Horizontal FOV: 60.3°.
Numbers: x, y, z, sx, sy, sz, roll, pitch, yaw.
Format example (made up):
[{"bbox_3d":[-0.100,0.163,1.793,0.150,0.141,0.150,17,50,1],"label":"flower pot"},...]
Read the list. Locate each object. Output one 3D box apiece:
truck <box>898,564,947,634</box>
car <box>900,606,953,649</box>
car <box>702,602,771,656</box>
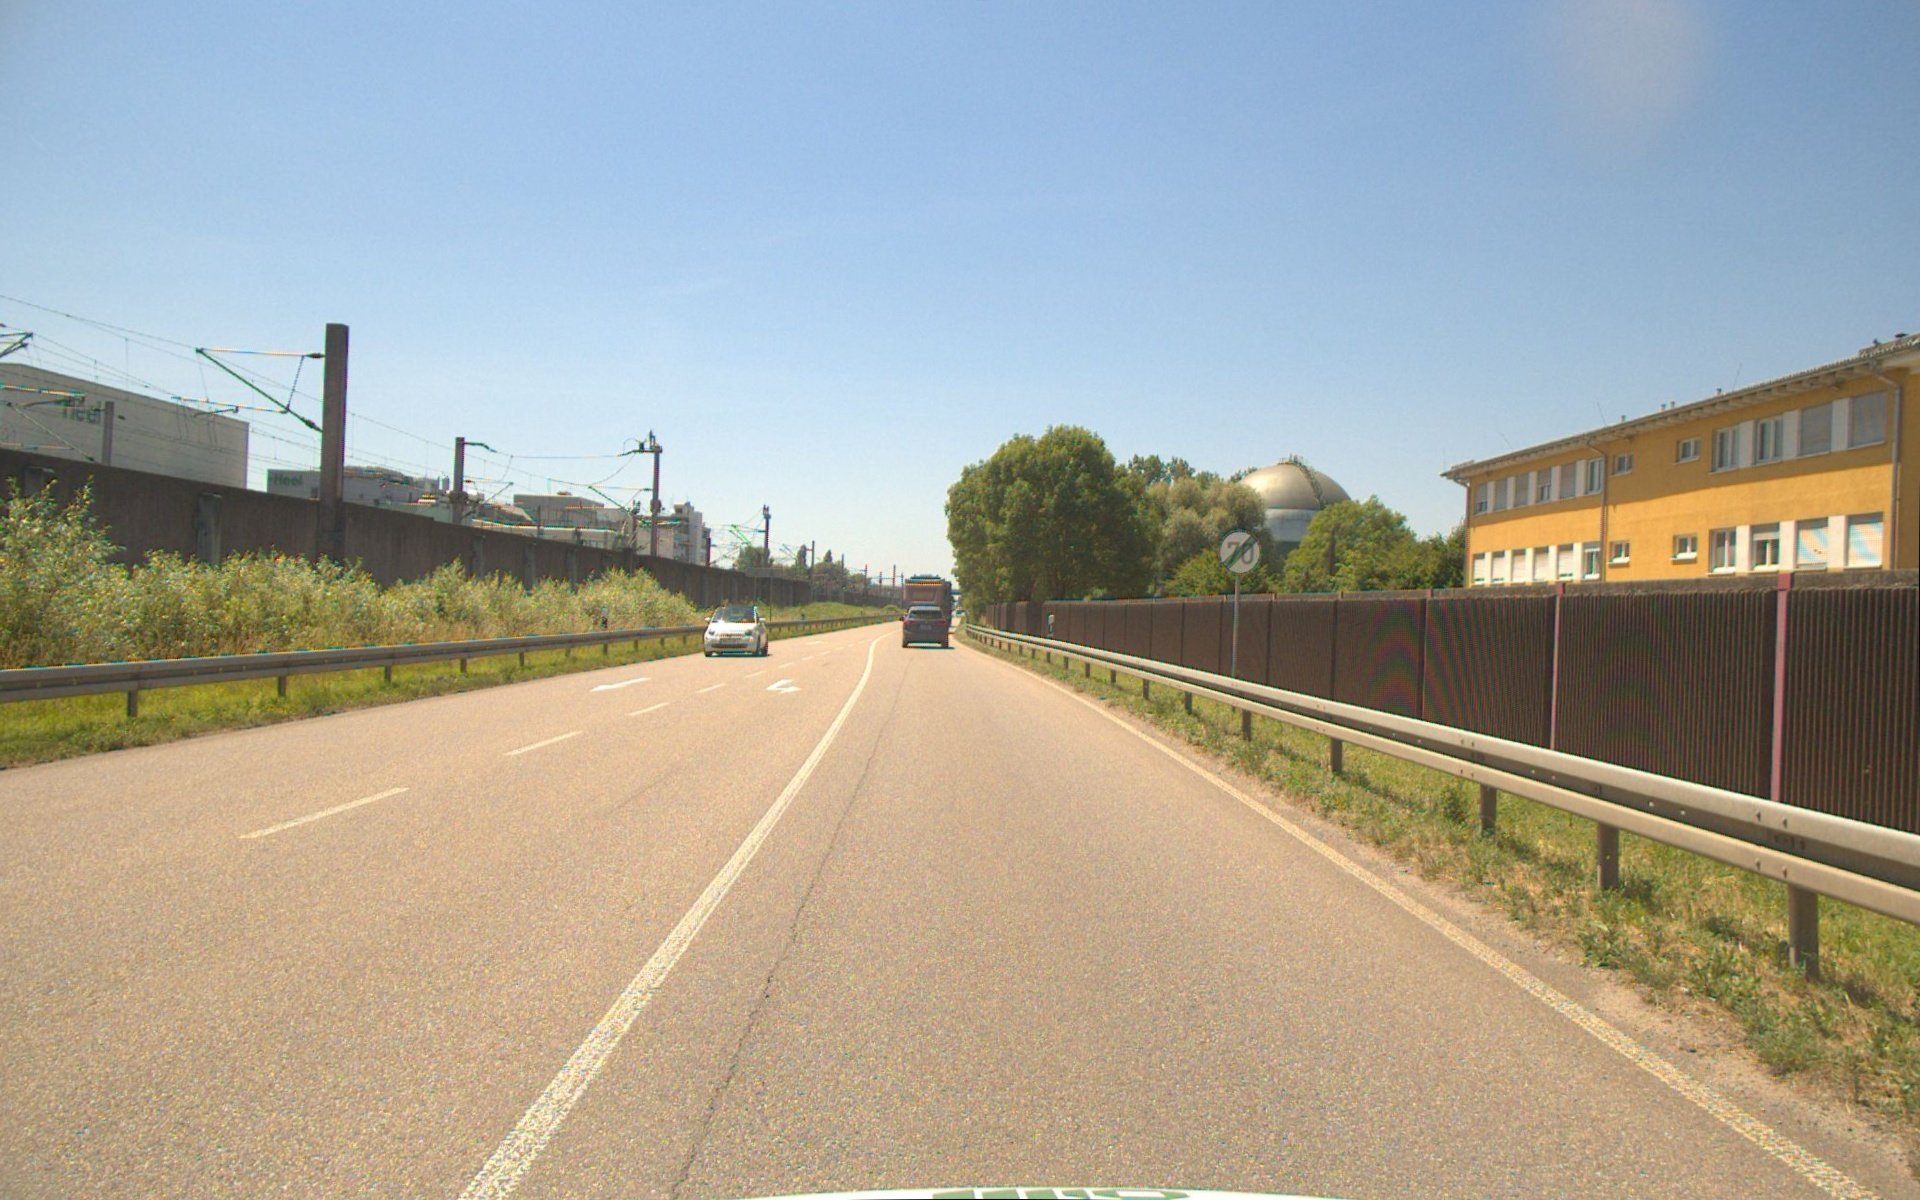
[{"bbox_3d":[-2.397,0.058,108.009,2.935,4.254,11.804,1,-1,-1],"label":"truck"},{"bbox_3d":[-1.284,1.098,64.077,1.953,1.529,3.999,2,-2,-1],"label":"car"},{"bbox_3d":[-6.672,0.852,49.657,1.638,1.528,3.720,1,0,-2],"label":"car"}]
